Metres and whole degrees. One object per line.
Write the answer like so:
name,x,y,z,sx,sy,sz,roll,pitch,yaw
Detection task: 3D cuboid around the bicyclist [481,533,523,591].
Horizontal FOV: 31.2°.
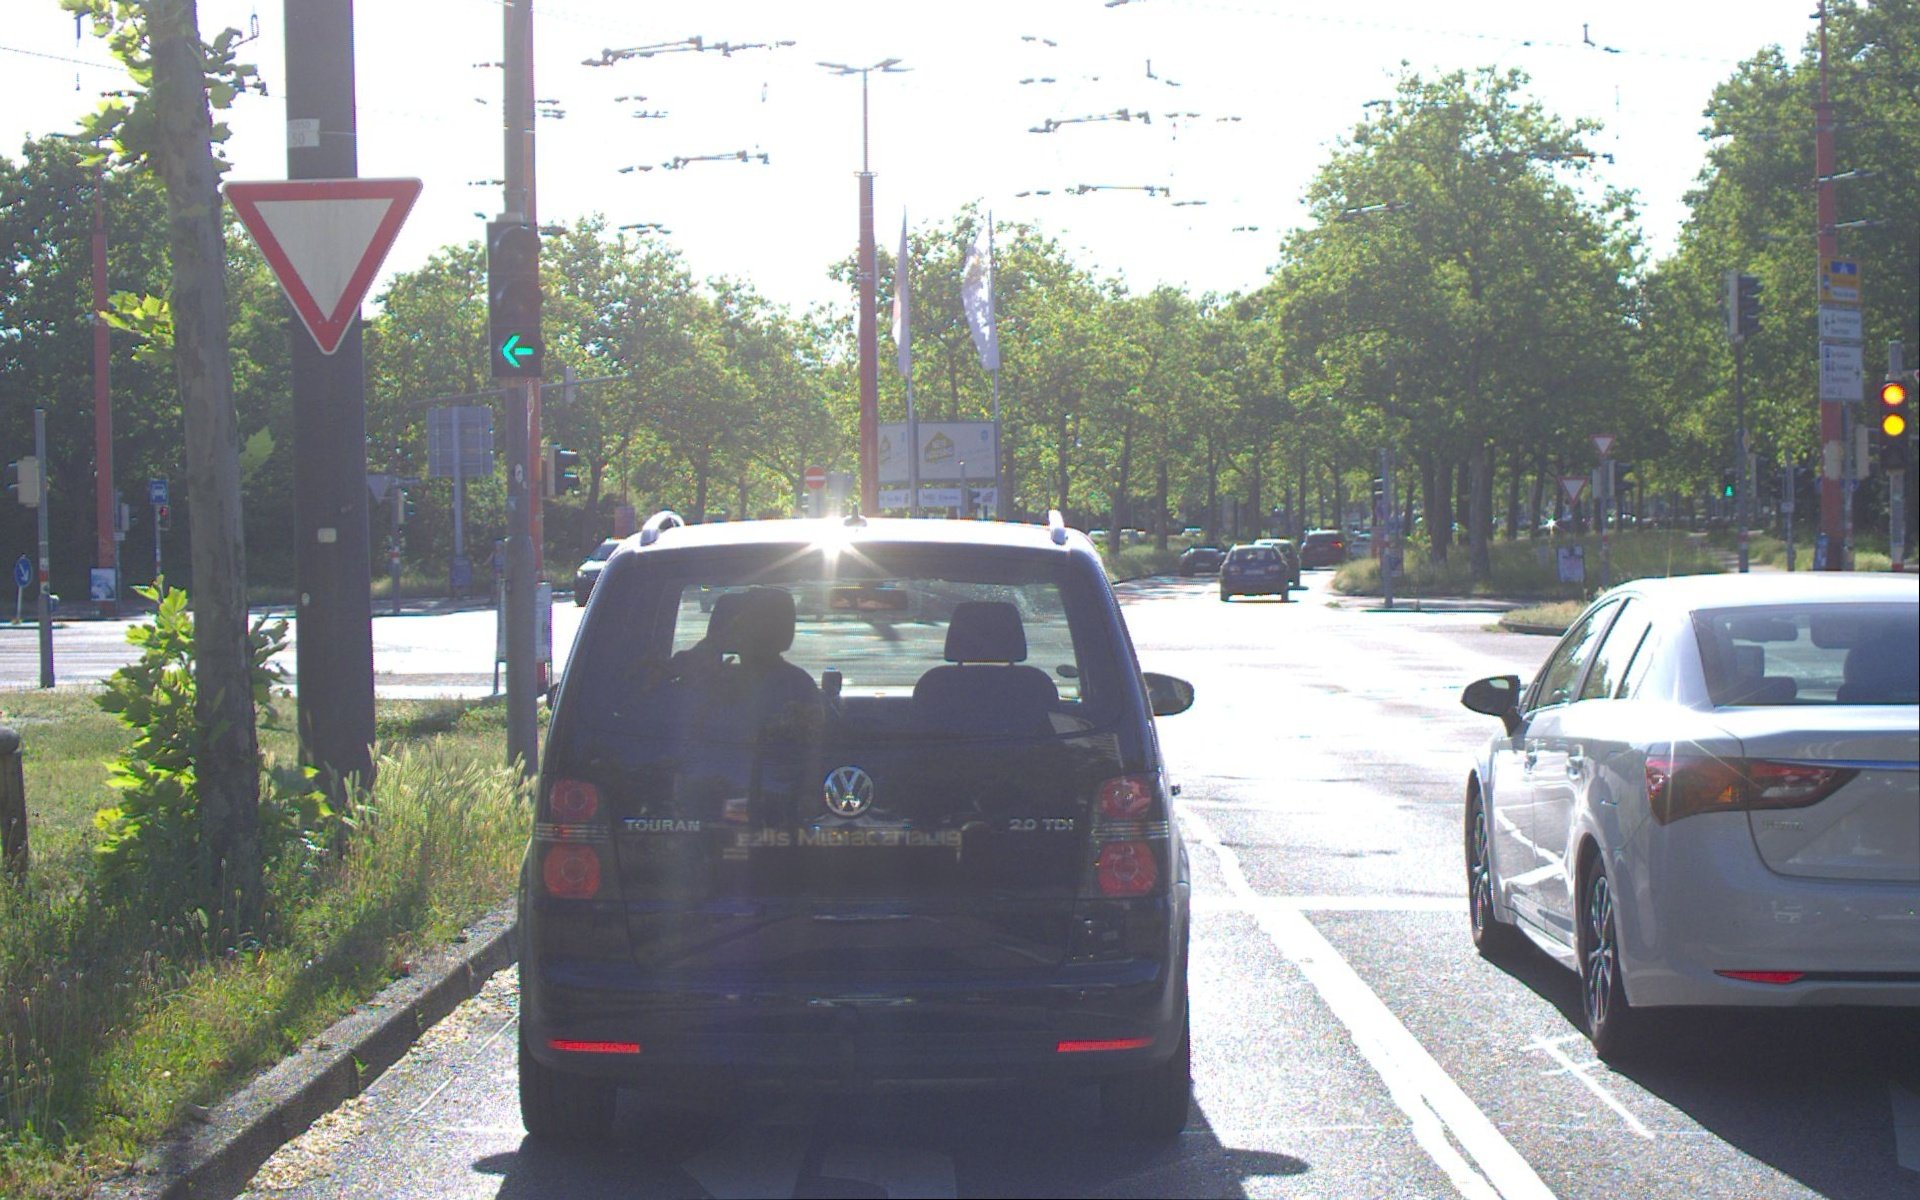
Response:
bicyclist,-12.545,-1.040,94.250,0.759,1.552,0.980,-1,2,17

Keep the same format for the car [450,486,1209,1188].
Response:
car,-0.313,0.504,10.532,1.767,1.638,4.924,0,1,0

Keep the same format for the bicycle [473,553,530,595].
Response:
bicycle,-12.561,-0.711,94.180,0.764,1.087,2.014,-1,2,17

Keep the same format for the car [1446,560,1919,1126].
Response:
car,2.763,0.625,11.353,1.767,1.459,4.366,0,1,1

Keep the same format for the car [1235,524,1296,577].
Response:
car,9.781,-1.577,110.055,1.873,1.621,3.999,1,0,5

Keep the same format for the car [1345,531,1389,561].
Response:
car,19.333,-2.576,163.195,1.790,1.383,4.048,1,2,11

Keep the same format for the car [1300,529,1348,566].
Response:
car,15.114,-2.183,142.697,1.790,1.497,4.048,1,2,9

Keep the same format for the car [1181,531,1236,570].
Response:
car,9.238,-1.841,127.591,1.790,1.383,4.049,1,2,7

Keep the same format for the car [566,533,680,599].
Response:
car,-9.151,-0.946,93.645,1.903,1.720,4.652,0,1,10

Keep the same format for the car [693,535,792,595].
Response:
car,-5.752,-0.945,91.306,1.768,1.533,4.090,0,1,9

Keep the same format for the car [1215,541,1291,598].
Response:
car,7.578,-0.814,88.784,1.790,1.383,4.049,1,2,7
